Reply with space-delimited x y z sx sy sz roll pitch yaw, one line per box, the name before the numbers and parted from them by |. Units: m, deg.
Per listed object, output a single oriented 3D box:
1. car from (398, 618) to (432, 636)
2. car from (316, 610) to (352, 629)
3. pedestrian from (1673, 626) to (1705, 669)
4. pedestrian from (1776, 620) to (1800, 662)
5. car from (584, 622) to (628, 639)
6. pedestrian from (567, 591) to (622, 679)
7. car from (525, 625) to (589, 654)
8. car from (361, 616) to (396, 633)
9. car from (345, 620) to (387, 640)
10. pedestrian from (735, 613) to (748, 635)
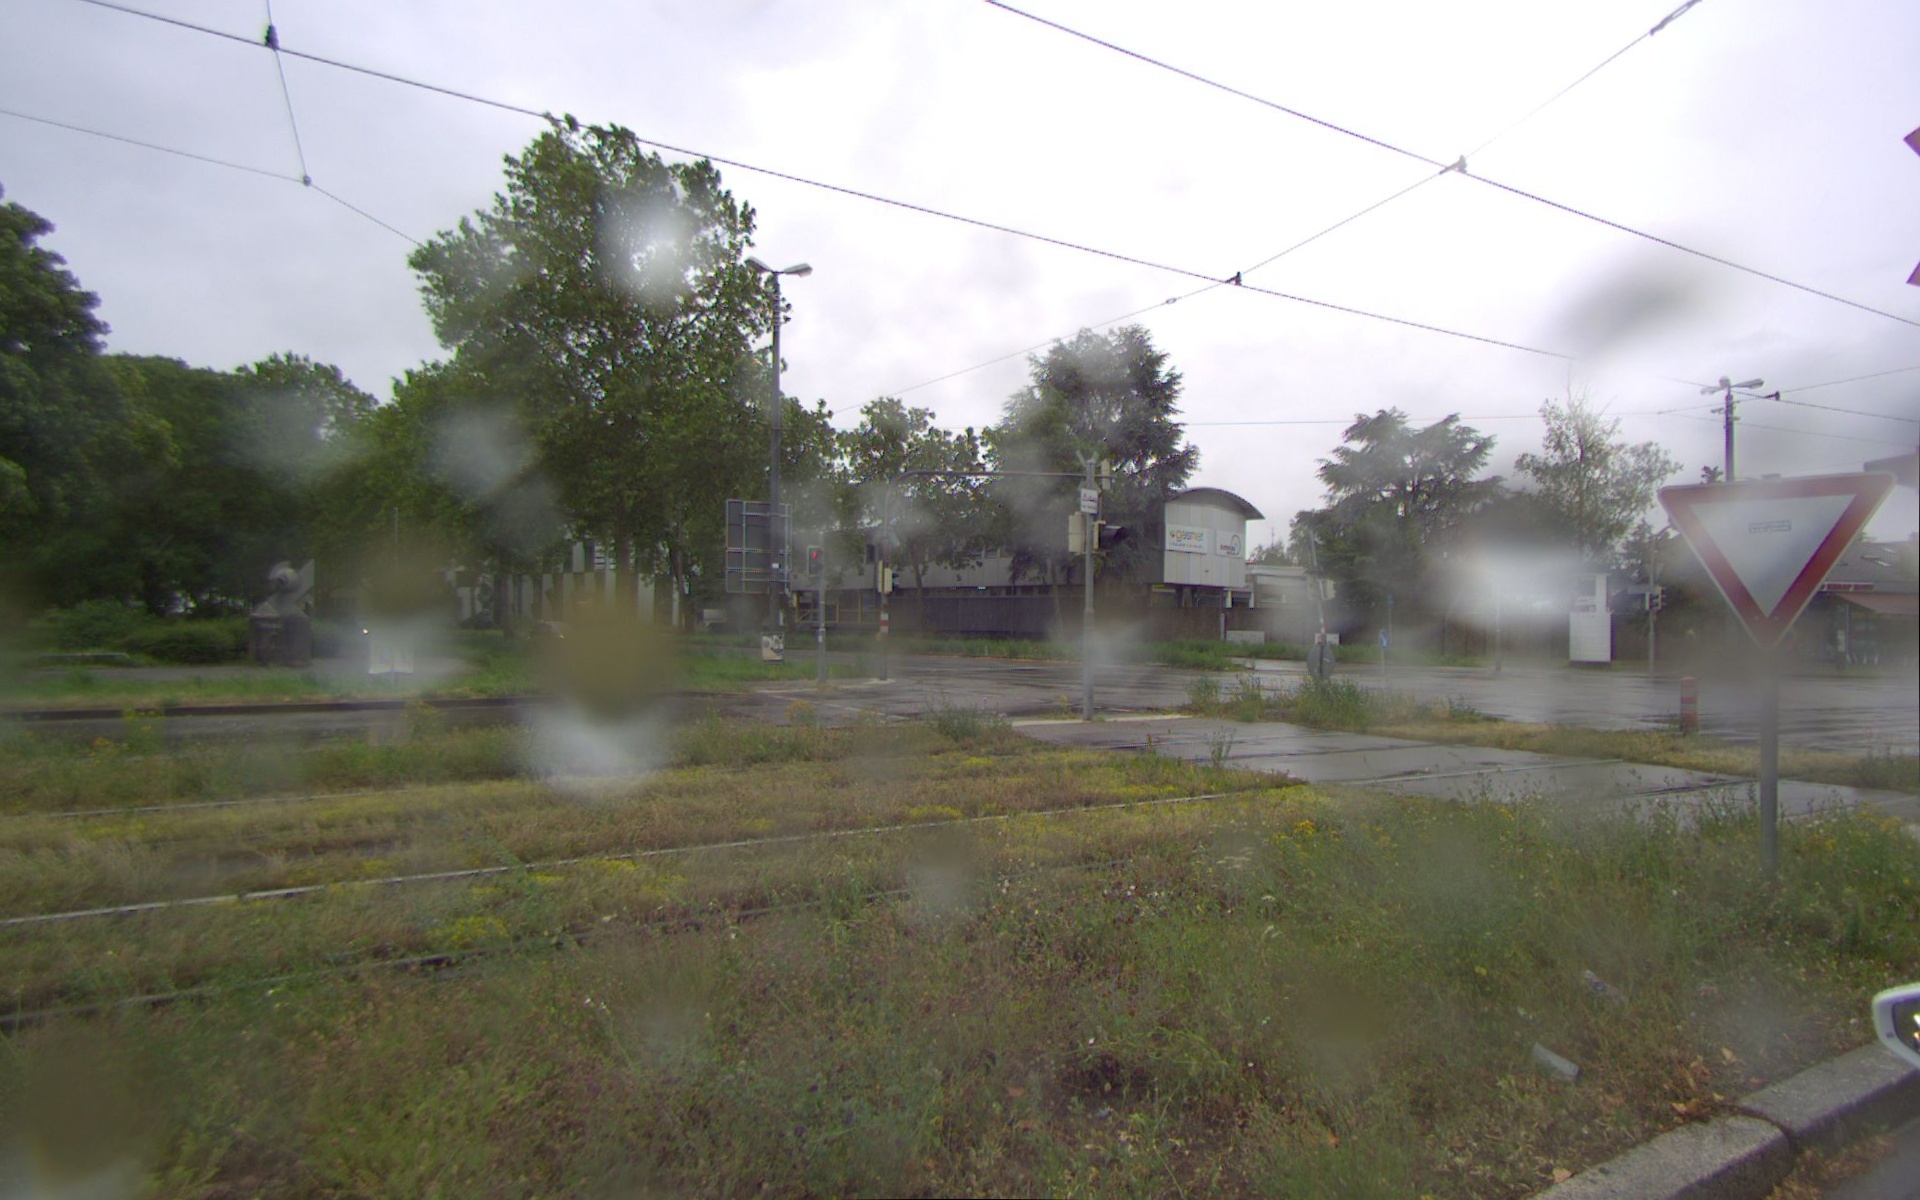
car | -59.782 2.990 110.239 3.940 1.806 1.990 2 0 41
car | -75.344 2.365 120.895 3.932 2.116 2.123 2 0 33
pedestrian | 31.736 2.067 43.715 0.872 1.821 0.724 1 1 -18
pedestrian | 41.067 2.016 49.816 0.788 2.040 0.717 2 0 -40
car | -32.606 2.774 92.613 1.659 1.417 4.135 2 0 17
pedestrian | -8.651 0.805 23.764 0.998 2.017 0.945 2 0 -34
car | -21.414 2.075 53.297 1.792 1.420 4.260 -1 -1 -42
car | -65.903 2.762 113.861 3.934 1.806 1.993 2 0 36
car | -43.364 2.214 73.260 1.792 1.425 4.405 2 -3 -42
pedestrian | -17.667 1.937 81.180 0.667 1.690 0.816 2 0 -38
